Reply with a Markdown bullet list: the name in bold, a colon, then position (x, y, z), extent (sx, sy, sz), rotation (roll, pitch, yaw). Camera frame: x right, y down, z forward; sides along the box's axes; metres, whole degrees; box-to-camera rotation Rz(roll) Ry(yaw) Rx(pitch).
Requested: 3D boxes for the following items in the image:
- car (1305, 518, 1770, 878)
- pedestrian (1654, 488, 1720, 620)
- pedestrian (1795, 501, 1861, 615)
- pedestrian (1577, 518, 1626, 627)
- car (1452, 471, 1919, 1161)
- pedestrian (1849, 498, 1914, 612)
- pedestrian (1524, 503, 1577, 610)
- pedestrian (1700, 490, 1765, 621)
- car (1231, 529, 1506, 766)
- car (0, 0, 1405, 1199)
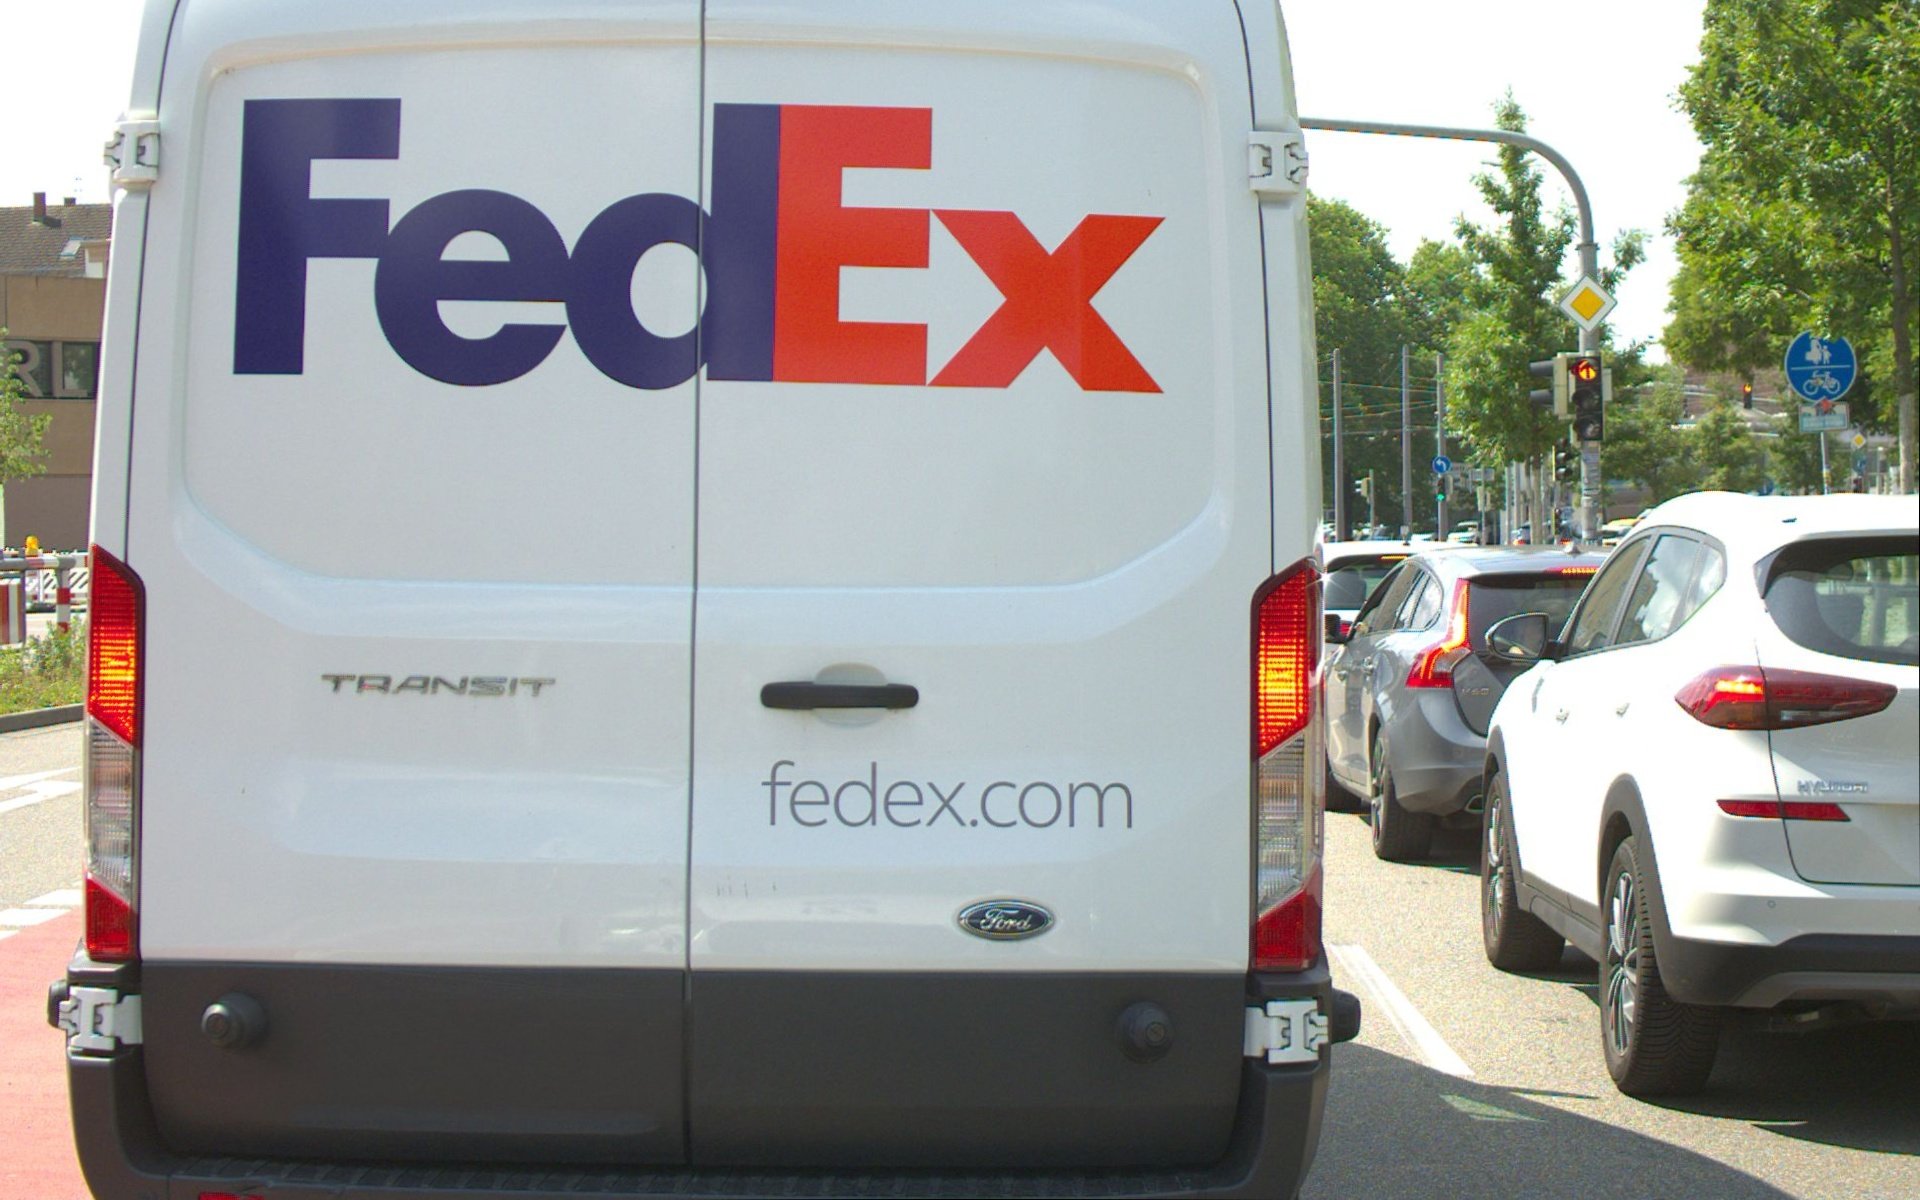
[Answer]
- **car**: position (2.696, 0.383, 16.797), extent (1.691, 1.543, 3.720), rotation (0, 1, 1)
- **pedestrian**: position (10.232, -0.655, 48.395), extent (0.759, 1.843, 0.816), rotation (-1, 1, 1)
- **pedestrian**: position (14.151, -0.687, 56.075), extent (0.758, 1.843, 0.816), rotation (-1, 1, -10)
- **pedestrian**: position (11.015, -0.473, 59.041), extent (0.759, 1.843, 0.816), rotation (0, 1, 15)
- **car**: position (2.645, 0.470, 10.327), extent (1.814, 1.673, 3.974), rotation (0, 1, 1)
- **pedestrian**: position (15.104, -0.741, 56.355), extent (0.758, 1.843, 0.816), rotation (-1, 1, -8)
- **pedestrian**: position (10.284, -0.755, 59.879), extent (0.813, 1.843, 0.761), rotation (0, 1, 3)
- **pedestrian**: position (10.998, -0.642, 48.957), extent (0.759, 1.843, 0.816), rotation (-1, 1, 3)
- **car**: position (2.705, 0.264, 23.341), extent (1.499, 1.459, 3.474), rotation (0, 1, 1)
- **car**: position (-0.364, 0.071, 7.174), extent (2.072, 2.572, 4.428), rotation (0, 1, 1)
